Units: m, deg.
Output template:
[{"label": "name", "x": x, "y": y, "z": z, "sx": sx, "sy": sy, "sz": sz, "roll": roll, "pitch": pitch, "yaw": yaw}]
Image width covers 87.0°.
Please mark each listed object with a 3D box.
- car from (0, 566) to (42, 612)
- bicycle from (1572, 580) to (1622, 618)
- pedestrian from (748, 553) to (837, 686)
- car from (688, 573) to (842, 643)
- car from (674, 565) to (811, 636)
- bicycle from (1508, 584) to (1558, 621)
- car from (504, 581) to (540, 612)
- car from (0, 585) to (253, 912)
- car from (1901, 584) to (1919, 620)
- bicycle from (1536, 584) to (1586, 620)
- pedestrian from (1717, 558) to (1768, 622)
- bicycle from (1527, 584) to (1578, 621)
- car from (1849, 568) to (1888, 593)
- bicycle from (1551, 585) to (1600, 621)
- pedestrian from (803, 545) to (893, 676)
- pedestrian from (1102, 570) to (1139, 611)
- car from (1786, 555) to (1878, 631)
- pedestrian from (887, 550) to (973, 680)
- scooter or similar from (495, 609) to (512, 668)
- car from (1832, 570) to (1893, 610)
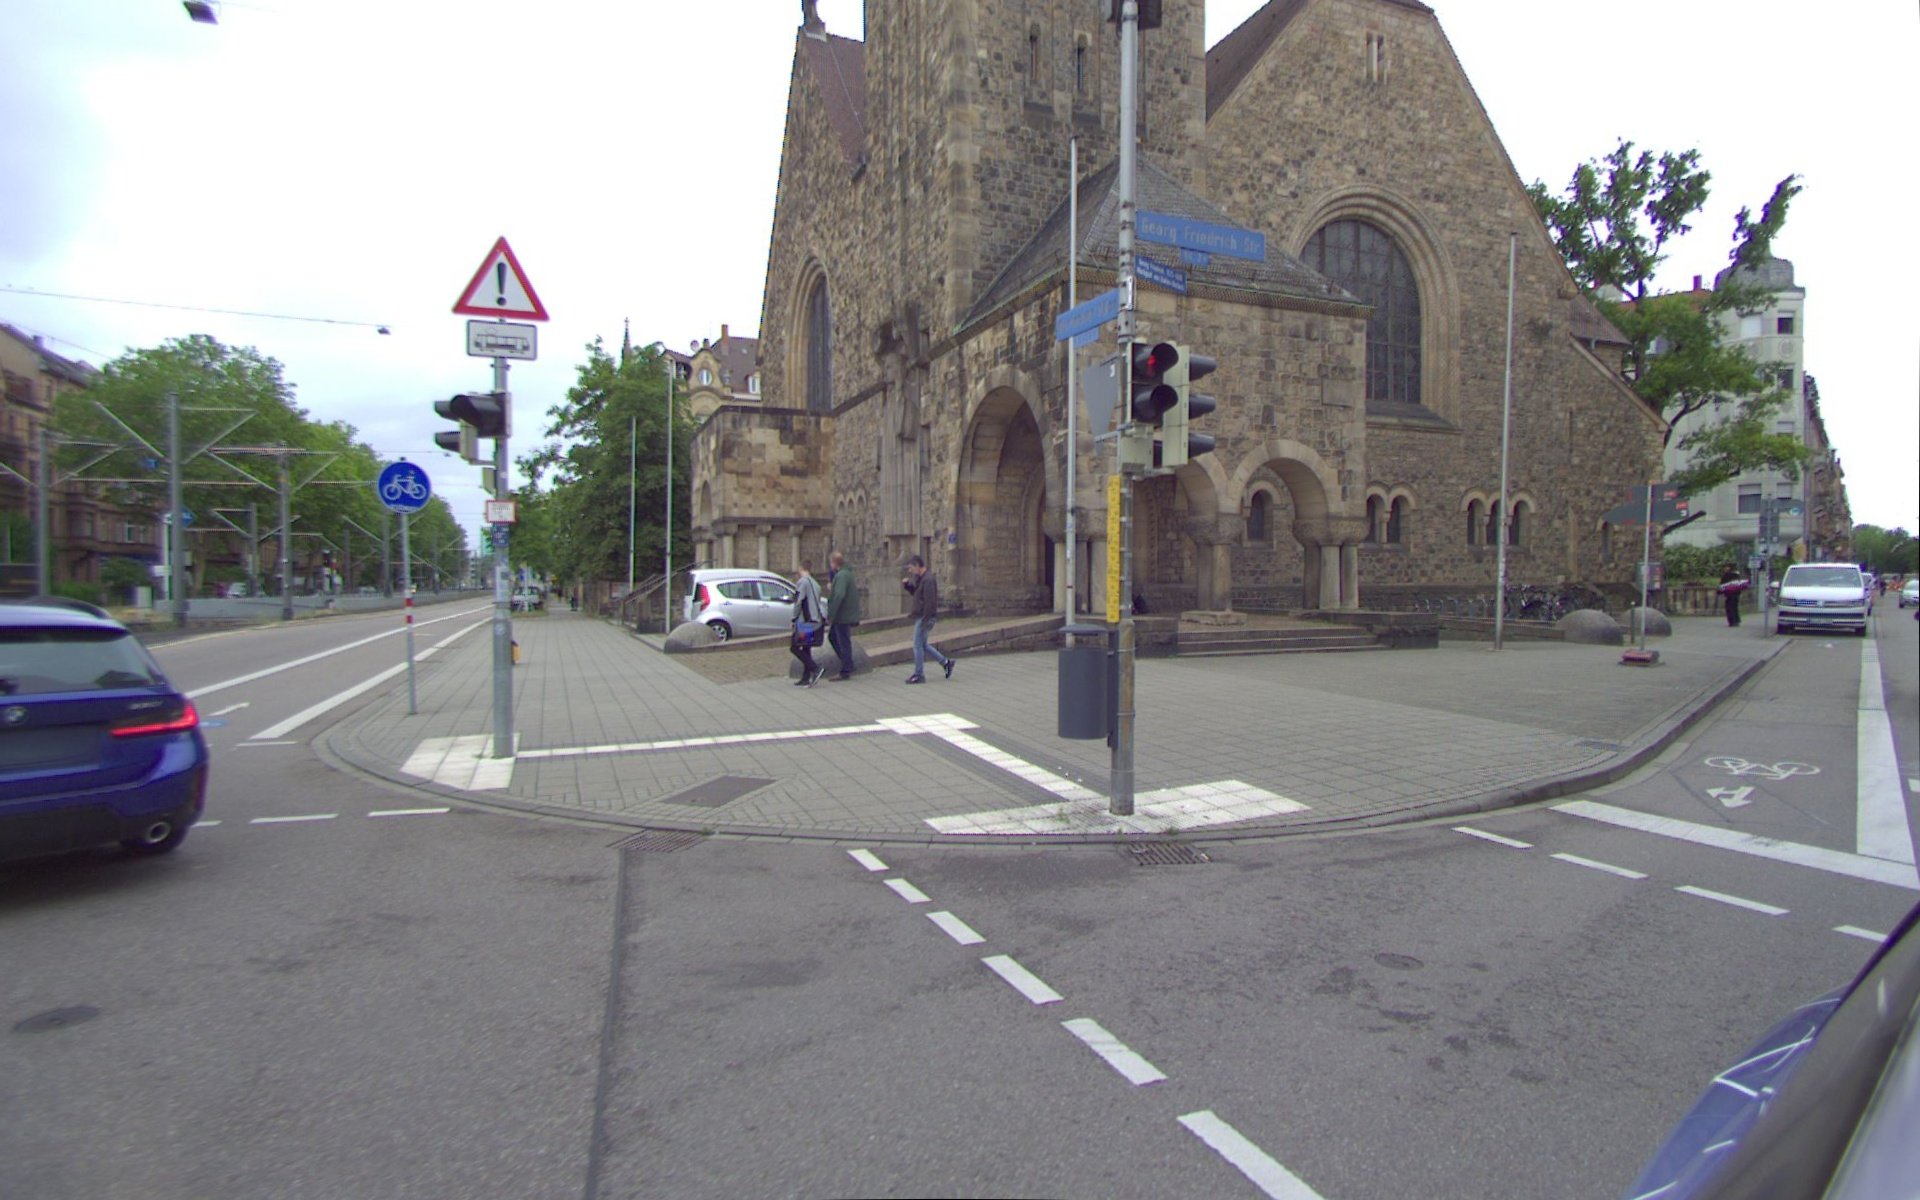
[{"label": "car", "x": -58.259, "y": -0.614, "z": 59.203, "sx": 2.207, "sy": 2.762, "sz": 7.098, "roll": -1, "pitch": 1, "yaw": 5}, {"label": "bicycle", "x": 19.745, "y": -0.039, "z": 31.393, "sx": 0.304, "sy": 1.161, "sz": 1.346, "roll": 0, "pitch": 1, "yaw": -24}, {"label": "pedestrian", "x": -2.222, "y": 0.230, "z": 13.440, "sx": 0.952, "sy": 1.693, "sz": 0.634, "roll": 0, "pitch": 3, "yaw": -40}, {"label": "car", "x": -4.678, "y": 0.147, "z": 24.180, "sx": 3.395, "sy": 1.549, "sz": 1.622, "roll": -1, "pitch": 1, "yaw": -20}, {"label": "car", "x": -5.912, "y": -0.031, "z": 27.427, "sx": 3.395, "sy": 1.815, "sz": 1.691, "roll": -1, "pitch": 1, "yaw": -20}, {"label": "bicycle", "x": 17.145, "y": 0.075, "z": 30.285, "sx": 0.304, "sy": 1.073, "sz": 1.386, "roll": 0, "pitch": 1, "yaw": -24}, {"label": "car", "x": -23.249, "y": -0.227, "z": 53.754, "sx": 1.652, "sy": 1.549, "sz": 3.474, "roll": -1, "pitch": 1, "yaw": -23}, {"label": "car", "x": -5.963, "y": 0.634, "z": 5.662, "sx": 4.287, "sy": 1.423, "sz": 1.801, "roll": 1, "pitch": 1, "yaw": 32}, {"label": "car", "x": 51.579, "y": 0.078, "z": 54.048, "sx": 1.826, "sy": 1.794, "sz": 3.940, "roll": 0, "pitch": 1, "yaw": 42}, {"label": "bicycle", "x": 18.322, "y": 0.036, "z": 30.874, "sx": 0.304, "sy": 1.073, "sz": 1.386, "roll": 0, "pitch": 1, "yaw": -24}, {"label": "pedestrian", "x": 23.496, "y": -0.313, "z": 30.392, "sx": 0.999, "sy": 1.831, "sz": 0.817, "roll": -3, "pitch": 2, "yaw": -26}, {"label": "bicycle", "x": 17.769, "y": 0.074, "z": 30.379, "sx": 0.304, "sy": 1.073, "sz": 1.386, "roll": 0, "pitch": 1, "yaw": -24}, {"label": "car", "x": 59.411, "y": -1.269, "z": 66.154, "sx": 1.815, "sy": 1.585, "sz": 3.938, "roll": 1, "pitch": 1, "yaw": 43}, {"label": "bicycle", "x": 18.912, "y": 0.072, "z": 31.125, "sx": 0.304, "sy": 1.073, "sz": 1.346, "roll": 0, "pitch": 1, "yaw": -24}, {"label": "pedestrian", "x": -1.587, "y": 0.121, "z": 14.369, "sx": 0.804, "sy": 1.780, "sz": 0.954, "roll": 3, "pitch": 3, "yaw": 43}, {"label": "pedestrian", "x": 3.820, "y": -0.228, "z": 24.079, "sx": 0.602, "sy": 0.963, "sz": 0.675, "roll": 0, "pitch": 1, "yaw": -24}, {"label": "car", "x": 24.334, "y": -0.230, "z": 28.204, "sx": 1.804, "sy": 1.944, "sz": 5.086, "roll": 1, "pitch": 1, "yaw": 42}, {"label": "pedestrian", "x": -0.409, "y": 0.180, "z": 13.873, "sx": 0.674, "sy": 1.706, "sz": 0.954, "roll": 3, "pitch": 3, "yaw": 43}, {"label": "scooter or similar", "x": -8.546, "y": 0.713, "z": 18.945, "sx": 0.235, "sy": 1.066, "sz": 0.774, "roll": -1, "pitch": 1, "yaw": -21}, {"label": "car", "x": 37.815, "y": -0.438, "z": 42.393, "sx": 1.815, "sy": 1.585, "sz": 3.938, "roll": 1, "pitch": 1, "yaw": 43}]
